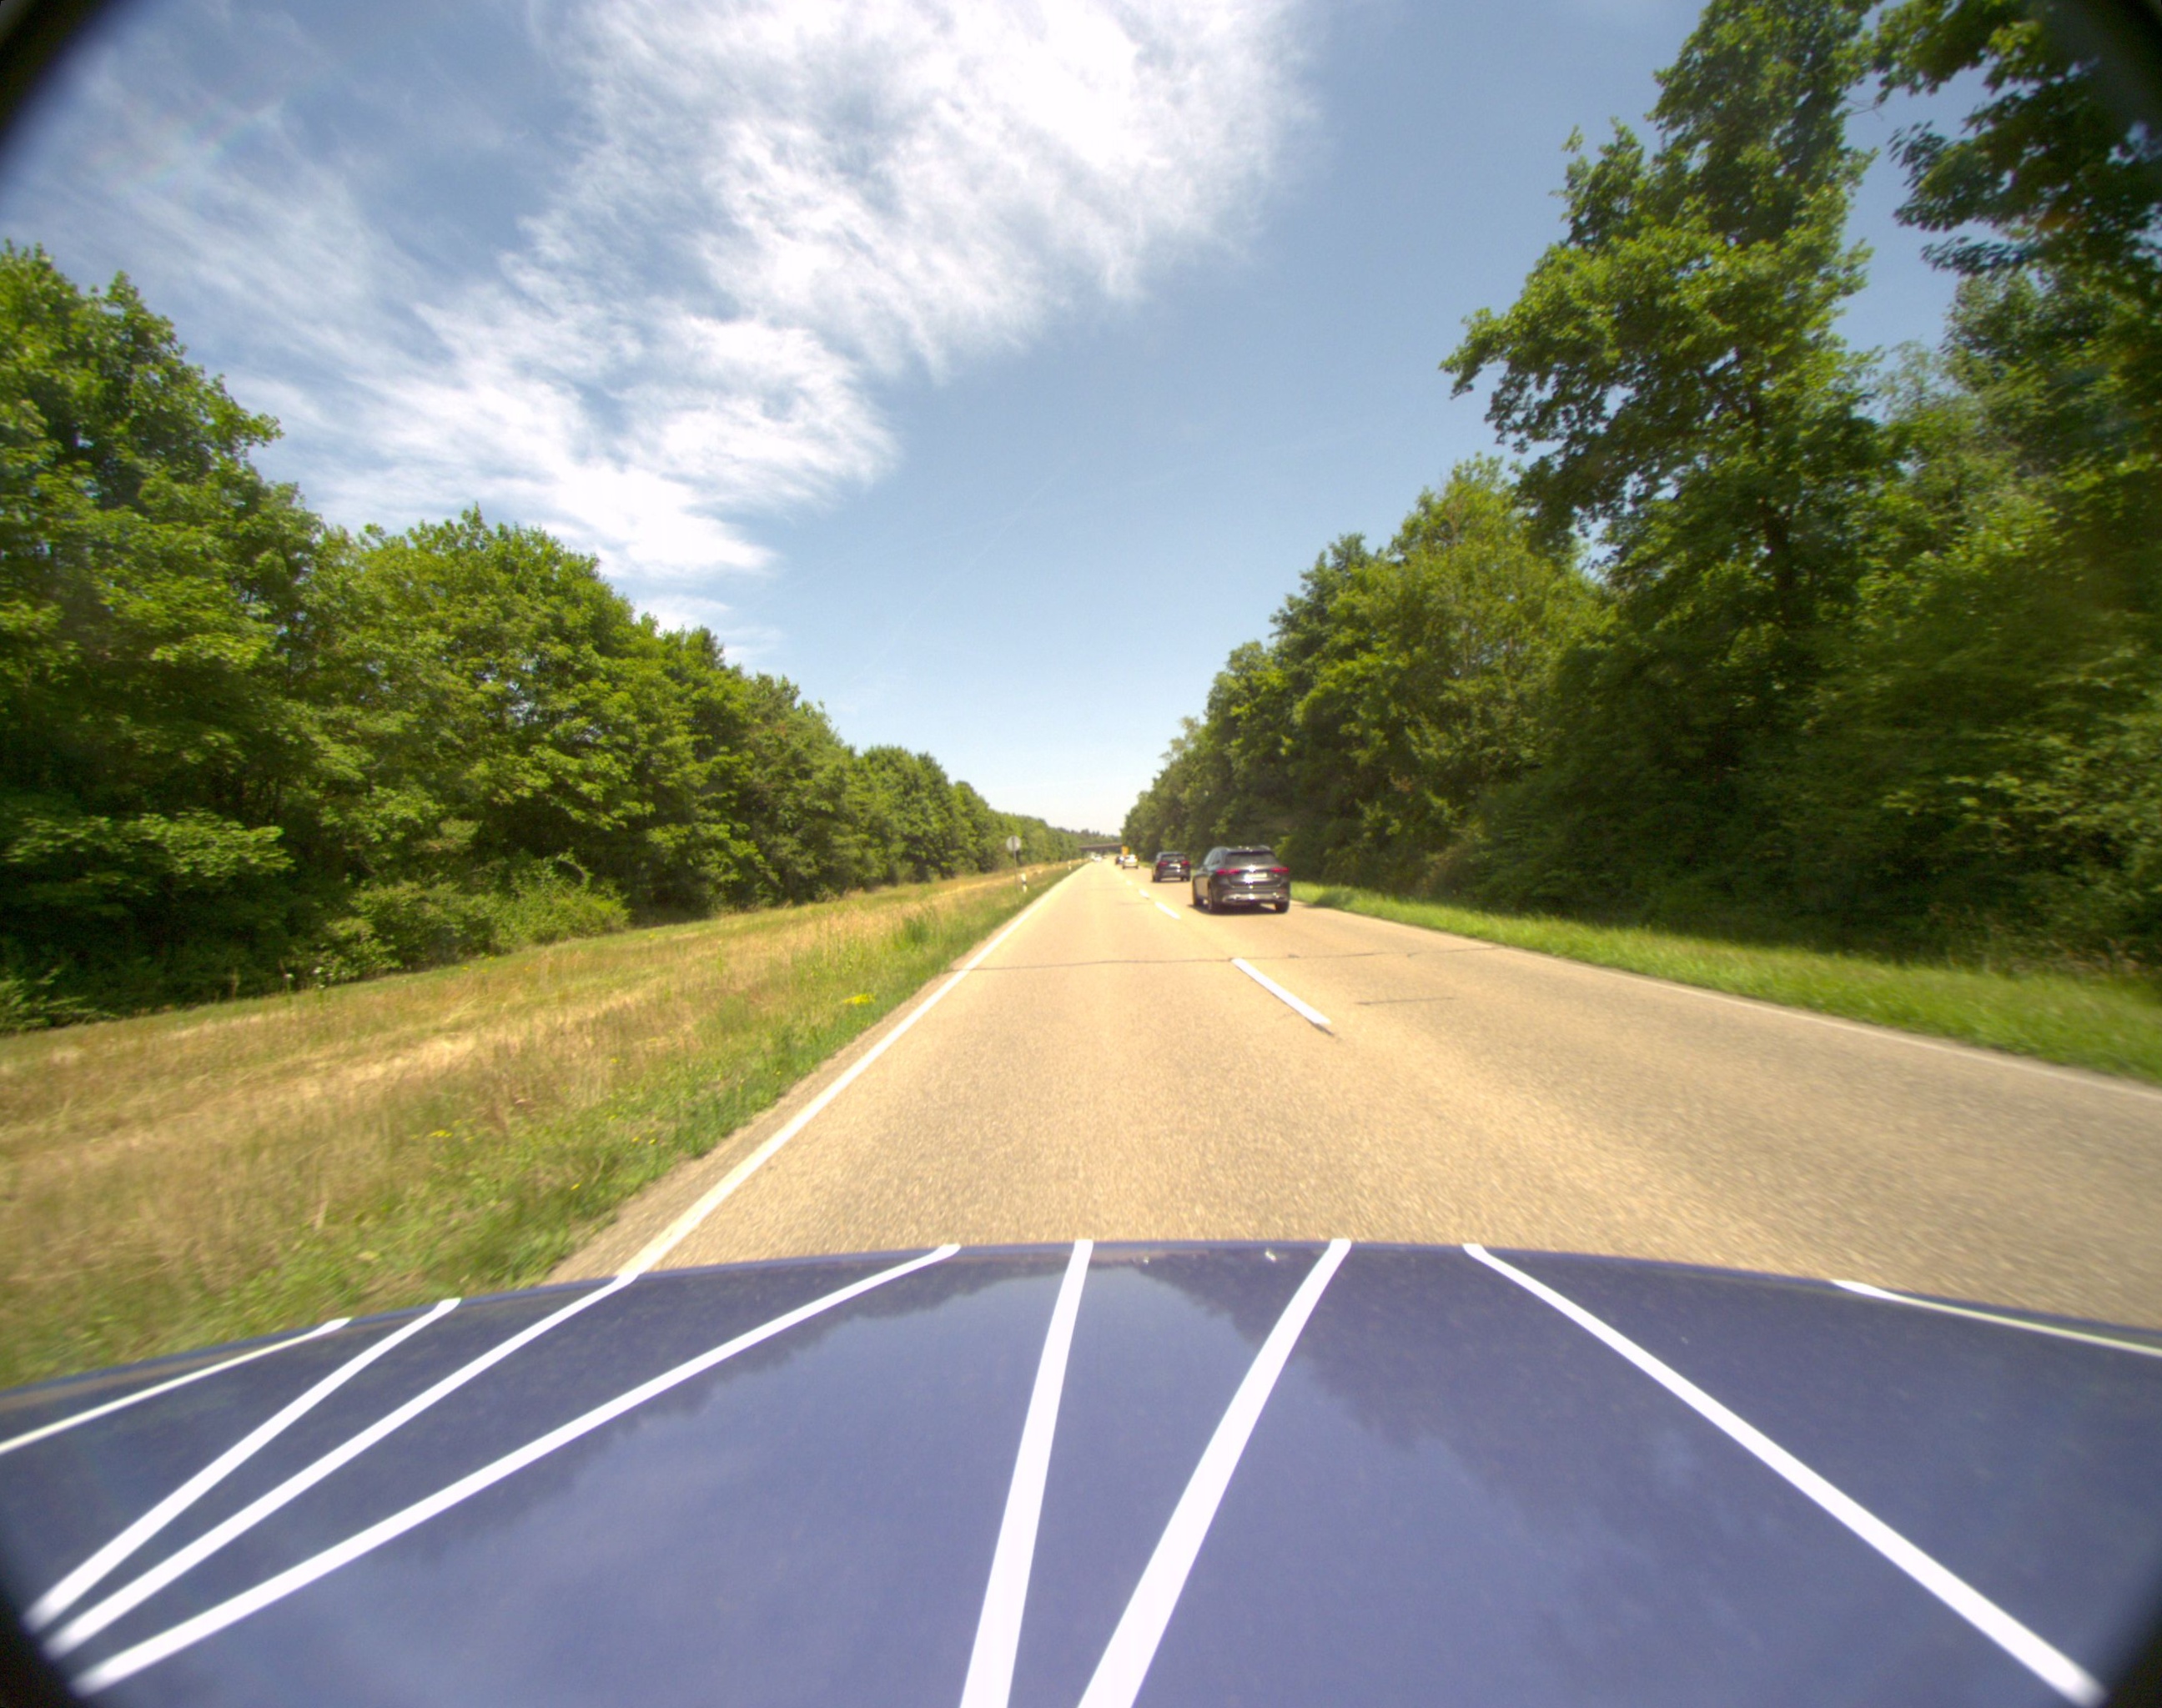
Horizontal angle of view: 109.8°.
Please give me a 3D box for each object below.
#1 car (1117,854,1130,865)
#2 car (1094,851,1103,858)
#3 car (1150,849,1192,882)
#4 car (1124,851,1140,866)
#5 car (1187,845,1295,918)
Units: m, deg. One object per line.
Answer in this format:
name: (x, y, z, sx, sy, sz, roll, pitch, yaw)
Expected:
car: (6.724, 0.920, 121.626, 1.891, 1.651, 3.705, -2, 0, 1)
car: (4.308, 0.161, 188.670, 1.865, 1.747, 4.000, -4, 0, 0)
car: (4.812, 0.572, 41.041, 1.756, 1.595, 4.440, -2, 1, 1)
car: (5.510, 0.473, 82.382, 1.670, 1.487, 3.684, -2, 0, 2)
car: (3.974, 0.626, 19.564, 1.870, 1.615, 4.200, -2, 0, 0)
